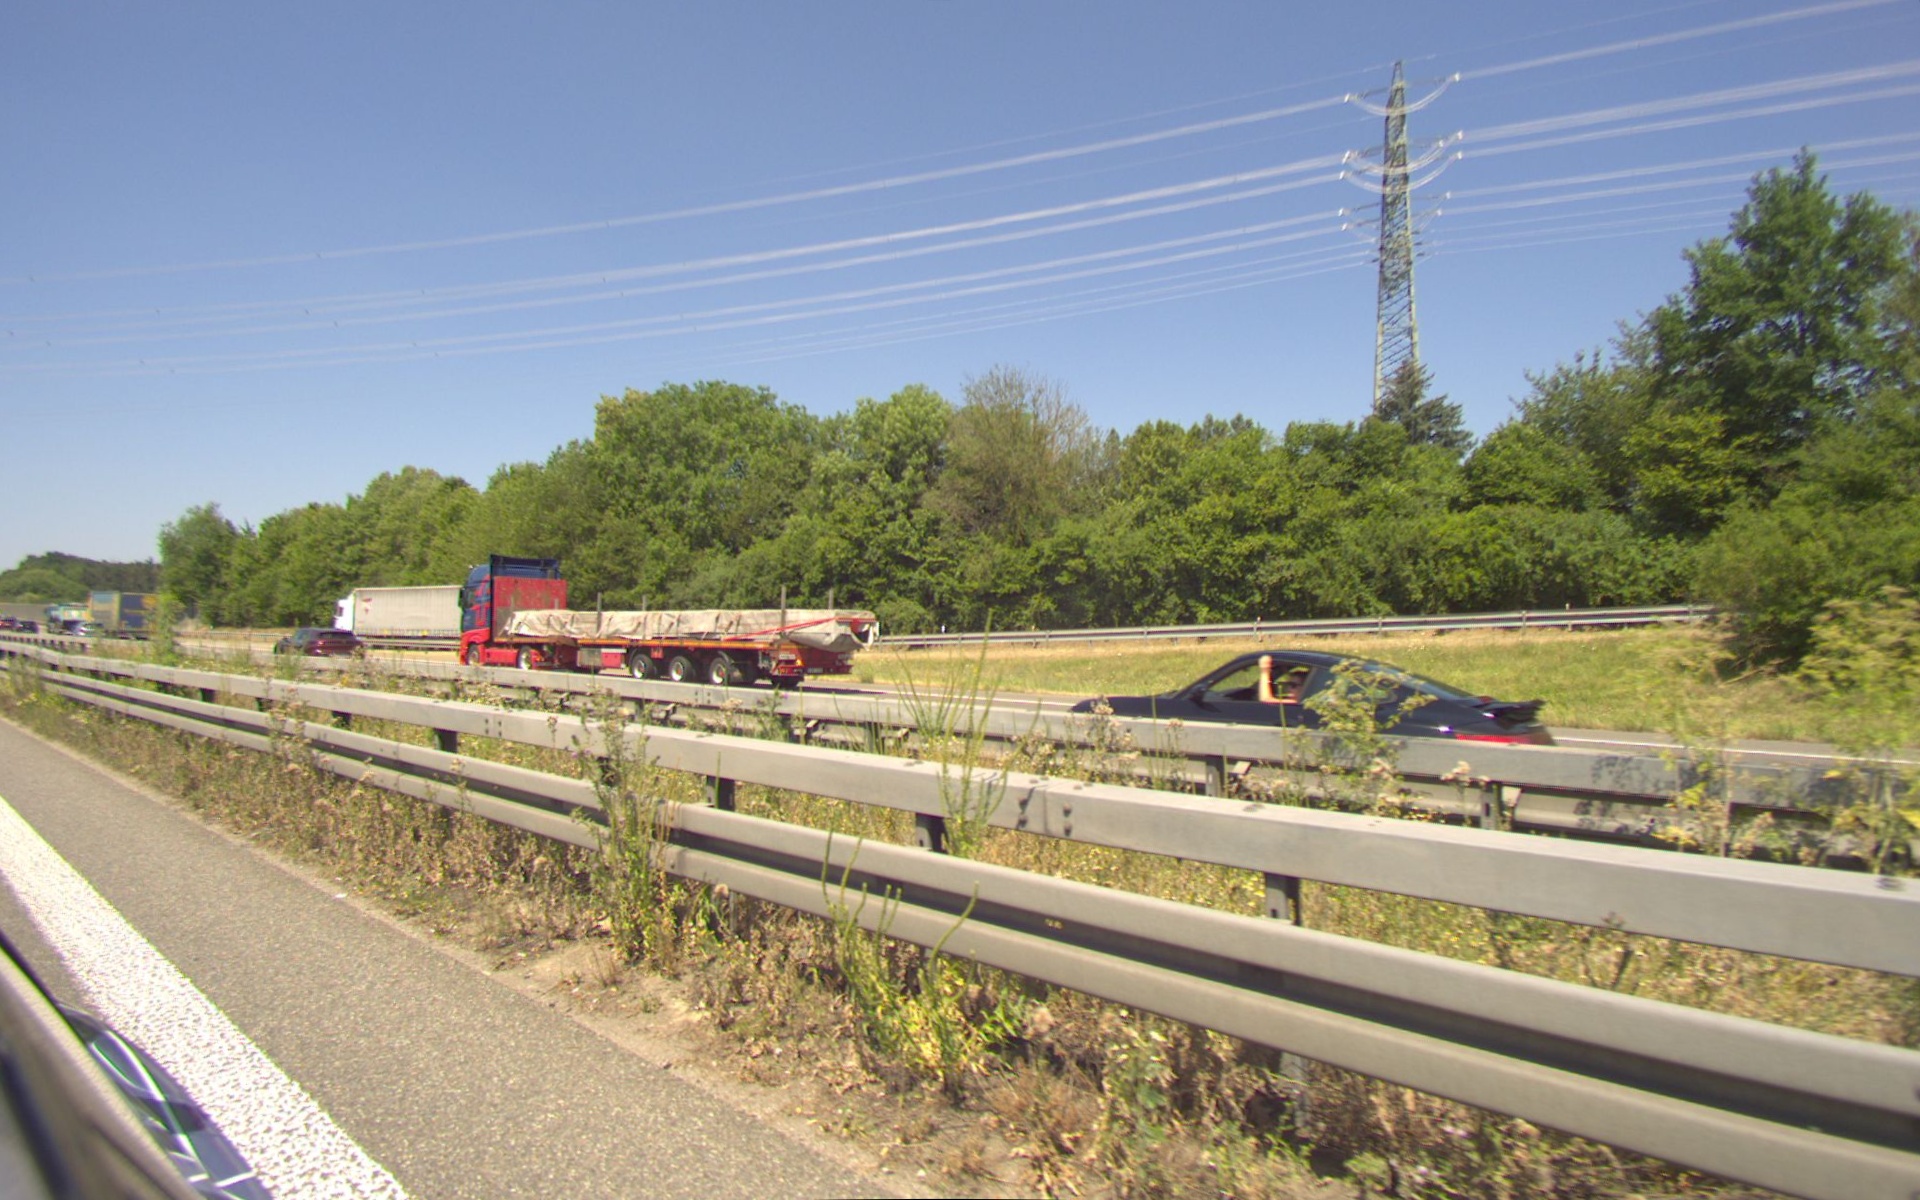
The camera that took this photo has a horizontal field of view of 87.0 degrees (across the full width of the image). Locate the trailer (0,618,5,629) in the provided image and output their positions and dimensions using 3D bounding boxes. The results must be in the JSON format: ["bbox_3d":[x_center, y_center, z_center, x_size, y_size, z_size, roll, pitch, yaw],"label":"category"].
[{"bbox_3d":[-167.950,3.994,175.368,6.717,1.960,2.737,-1,-3,40],"label":"trailer"}]

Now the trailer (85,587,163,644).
[{"bbox_3d":[-69.312,1.344,83.721,13.812,4.374,3.140,-1,-2,43],"label":"trailer"}]

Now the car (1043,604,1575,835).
[{"bbox_3d":[2.833,0.863,8.729,3.998,1.538,1.706,-1,-3,41],"label":"car"}]

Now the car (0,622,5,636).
[{"bbox_3d":[-108.495,3.244,113.272,4.382,1.542,1.763,-1,-4,41],"label":"car"}]

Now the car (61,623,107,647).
[{"bbox_3d":[-60.323,2.392,69.678,3.881,1.542,1.763,-1,-4,41],"label":"car"}]

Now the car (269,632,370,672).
[{"bbox_3d":[-23.264,1.862,36.681,4.919,1.344,1.751,-1,-3,41],"label":"car"}]

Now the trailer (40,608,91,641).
[{"bbox_3d":[-94.523,2.557,106.852,9.706,3.326,2.883,-1,-2,42],"label":"trailer"}]

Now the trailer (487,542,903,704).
[{"bbox_3d":[-8.375,0.661,28.789,16.015,3.586,2.965,-1,-2,41],"label":"trailer"}]

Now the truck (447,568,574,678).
[{"bbox_3d":[-15.594,0.808,35.098,3.116,3.586,2.965,-1,-2,41],"label":"truck"}]

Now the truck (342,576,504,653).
[{"bbox_3d":[-35.927,1.112,67.255,14.503,4.374,2.972,-4,-3,33],"label":"truck"}]

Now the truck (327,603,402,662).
[{"bbox_3d":[-41.841,2.295,71.113,4.311,3.926,2.920,-4,-3,33],"label":"truck"}]

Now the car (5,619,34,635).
[{"bbox_3d":[-90.552,2.621,97.423,4.146,1.480,1.693,-1,-4,43],"label":"car"}]
